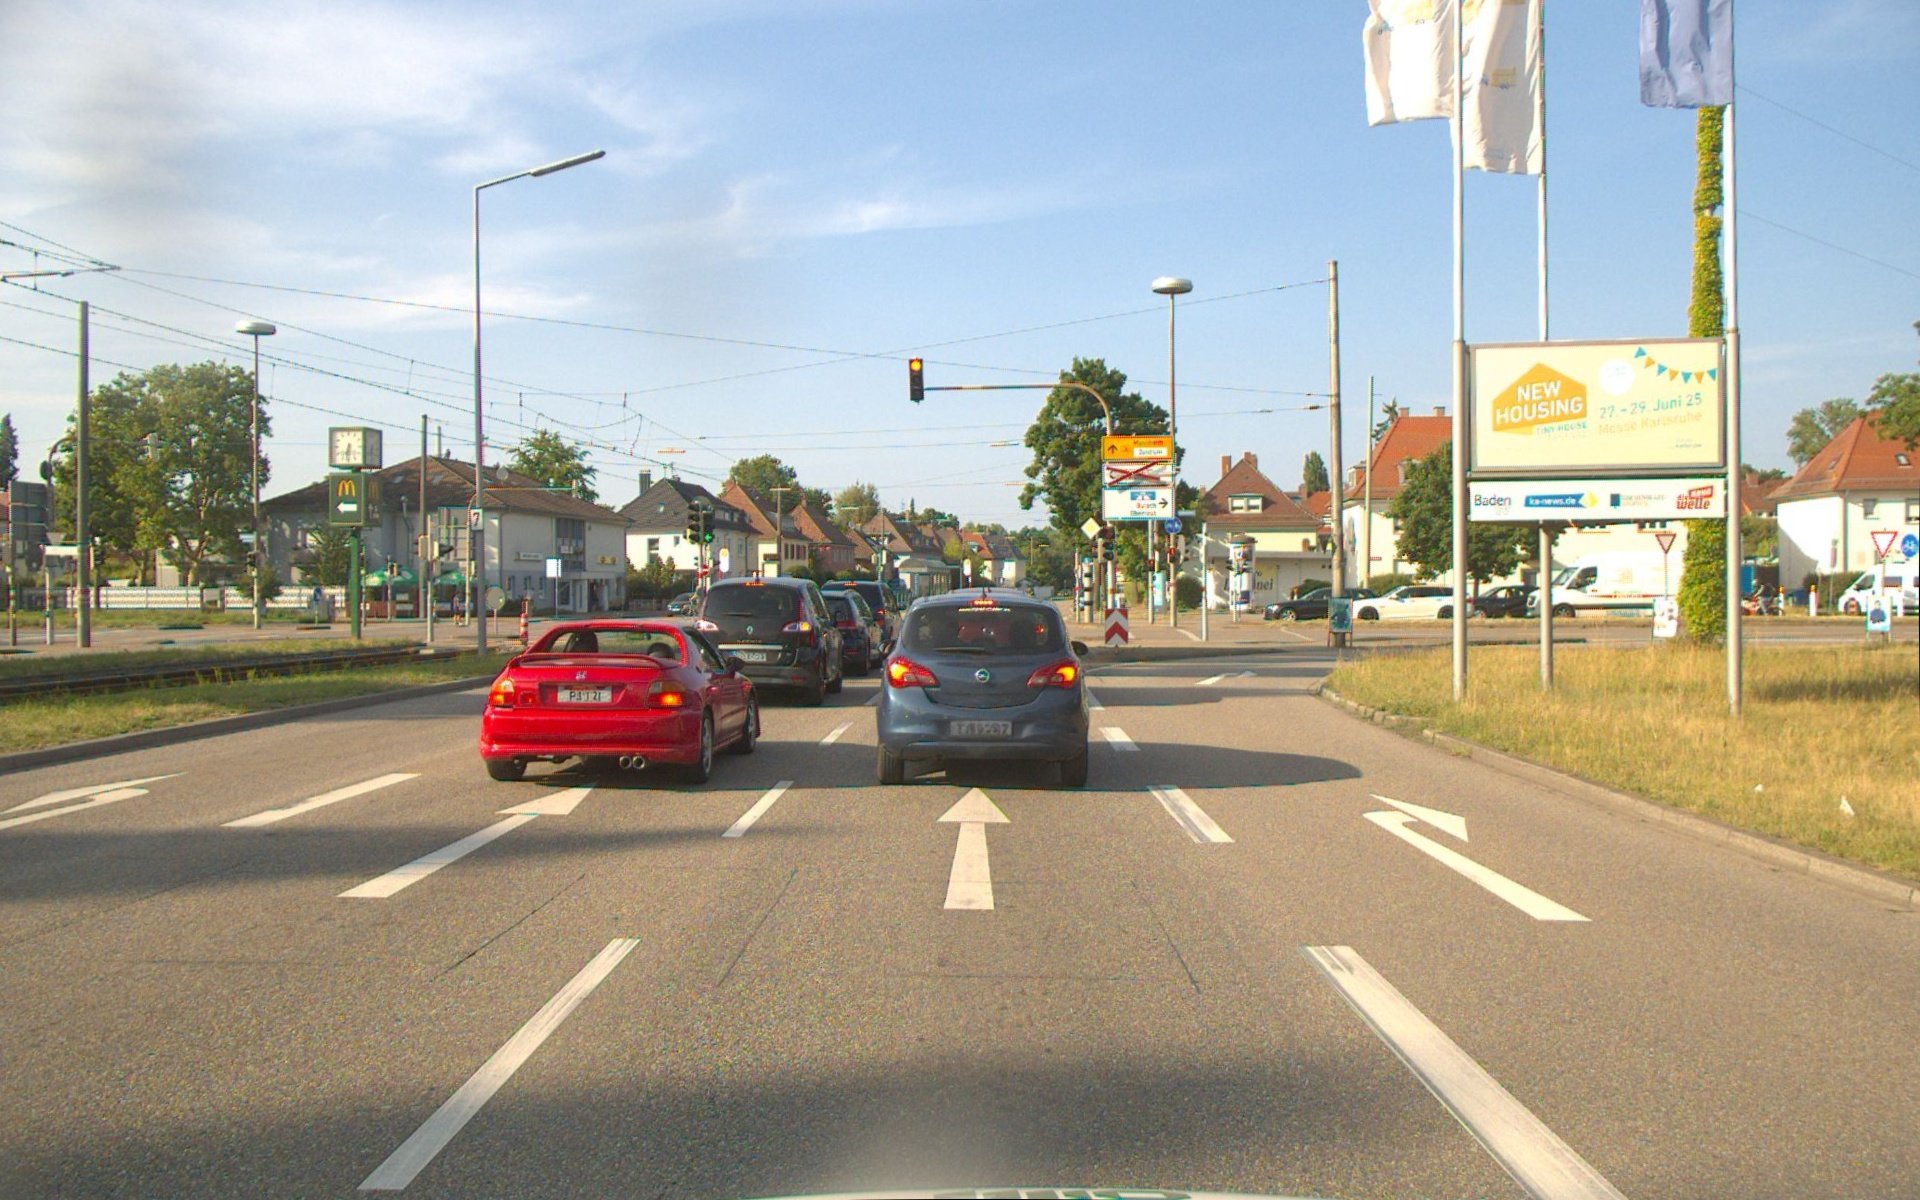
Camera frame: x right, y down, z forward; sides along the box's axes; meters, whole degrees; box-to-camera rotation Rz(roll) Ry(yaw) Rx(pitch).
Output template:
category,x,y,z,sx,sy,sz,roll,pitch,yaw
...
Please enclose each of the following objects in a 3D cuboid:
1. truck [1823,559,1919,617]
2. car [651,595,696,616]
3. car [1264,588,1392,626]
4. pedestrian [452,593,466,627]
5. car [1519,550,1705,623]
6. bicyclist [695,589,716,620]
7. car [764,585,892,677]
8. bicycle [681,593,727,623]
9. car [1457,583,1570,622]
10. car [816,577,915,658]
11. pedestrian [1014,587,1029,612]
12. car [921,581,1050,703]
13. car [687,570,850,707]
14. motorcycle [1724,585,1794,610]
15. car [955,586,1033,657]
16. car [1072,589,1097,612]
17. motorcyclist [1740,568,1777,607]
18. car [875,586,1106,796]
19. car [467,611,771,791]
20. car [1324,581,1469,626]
category,x,y,z,sx,sy,sz,roll,pitch,yaw
truck,43.201,-0.558,75.790,2.248,2.568,6.290,-1,1,-31
car,-18.581,0.371,107.392,1.628,1.369,4.080,-1,-1,9
car,14.492,0.261,65.359,4.722,1.436,1.717,-1,0,4
pedestrian,-23.904,0.483,78.947,0.501,1.627,0.540,0,0,2
car,24.054,-0.482,61.216,6.078,2.629,2.001,0,0,3
bicyclist,-12.004,0.209,78.064,0.867,1.456,1.135,1,-1,-6
car,-2.314,0.497,30.056,1.664,1.534,4.556,0,0,4
bicycle,-12.073,0.365,78.098,2.034,1.371,1.107,1,-1,-6
car,21.667,0.086,64.855,3.903,1.478,1.717,-1,0,4
car,-2.054,0.351,37.250,1.474,1.680,4.747,-1,0,6
pedestrian,3.787,-0.022,101.604,0.737,1.525,0.828,1,-1,11
car,0.357,0.534,23.536,1.671,1.579,3.978,-1,0,1
car,-2.523,0.465,22.615,1.727,1.700,4.084,0,0,0
motorcycle,29.050,-0.087,60.159,2.224,0.882,0.691,0,0,2
car,0.755,0.447,36.804,1.622,1.468,4.015,-1,0,1
car,8.276,0.046,110.308,1.639,1.422,4.002,1,0,4
motorcyclist,29.043,-0.454,60.154,1.043,1.375,0.680,0,0,2
car,0.189,0.654,14.351,1.706,1.532,4.222,0,1,-1
car,-2.695,0.748,13.917,1.695,1.227,3.847,1,0,1
car,16.214,0.124,61.616,4.987,1.590,1.841,-1,0,4
